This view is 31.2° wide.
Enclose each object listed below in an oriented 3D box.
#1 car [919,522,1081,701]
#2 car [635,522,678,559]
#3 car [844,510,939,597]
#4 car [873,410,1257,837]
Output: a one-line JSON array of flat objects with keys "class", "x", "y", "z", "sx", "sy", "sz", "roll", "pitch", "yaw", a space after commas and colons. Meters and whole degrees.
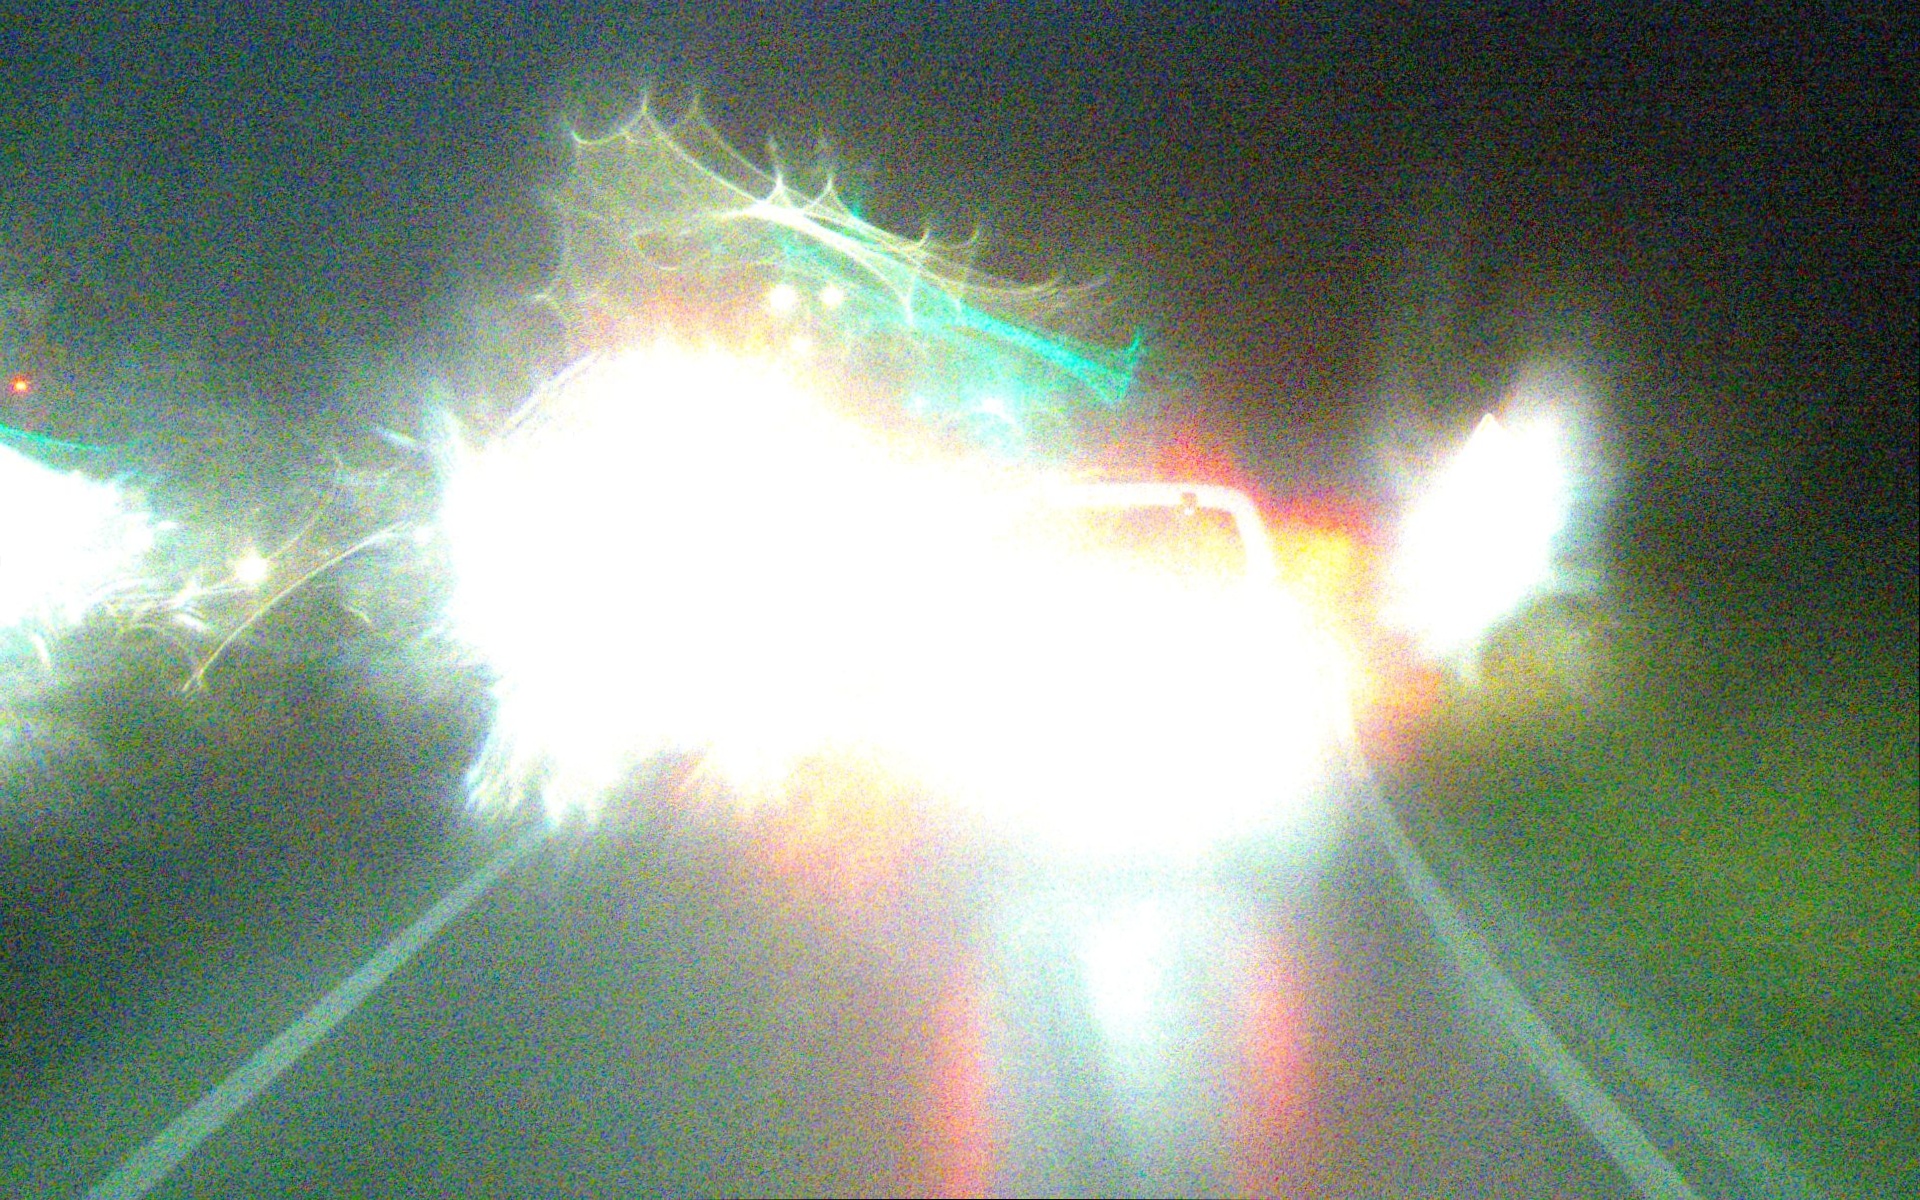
[{"class": "car", "x": 0.550, "y": 0.084, "z": 42.570, "sx": 1.791, "sy": 2.015, "sz": 4.579, "roll": -2, "pitch": 2, "yaw": 3}, {"class": "car", "x": -13.381, "y": -2.613, "z": 151.640, "sx": 1.801, "sy": 1.582, "sz": 4.031, "roll": -1, "pitch": 1, "yaw": -4}, {"class": "car", "x": -1.516, "y": -1.042, "z": 74.705, "sx": 1.783, "sy": 1.776, "sz": 4.437, "roll": -2, "pitch": 2, "yaw": -4}, {"class": "car", "x": 0.605, "y": 0.052, "z": 18.941, "sx": 1.791, "sy": 2.015, "sz": 4.579, "roll": -2, "pitch": 2, "yaw": 3}]
